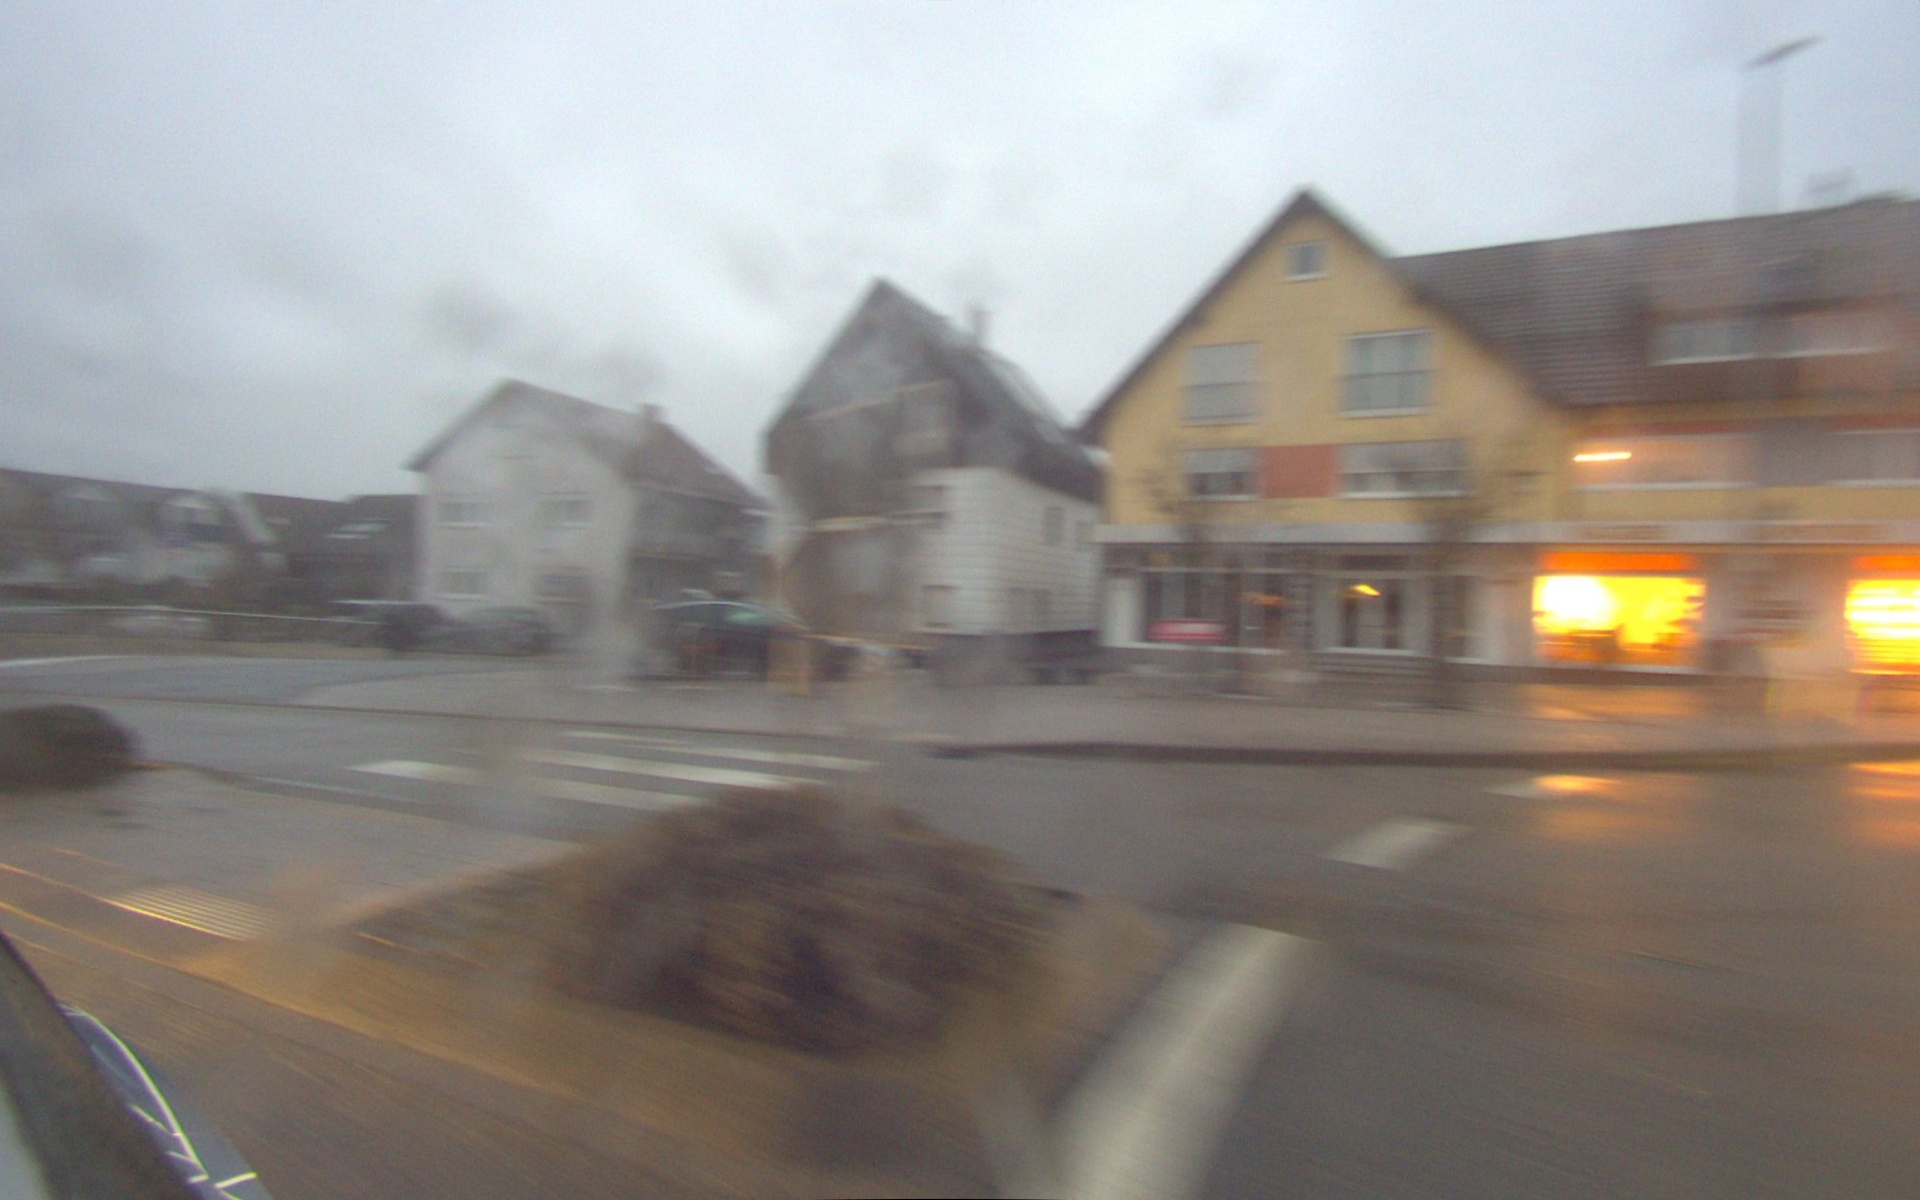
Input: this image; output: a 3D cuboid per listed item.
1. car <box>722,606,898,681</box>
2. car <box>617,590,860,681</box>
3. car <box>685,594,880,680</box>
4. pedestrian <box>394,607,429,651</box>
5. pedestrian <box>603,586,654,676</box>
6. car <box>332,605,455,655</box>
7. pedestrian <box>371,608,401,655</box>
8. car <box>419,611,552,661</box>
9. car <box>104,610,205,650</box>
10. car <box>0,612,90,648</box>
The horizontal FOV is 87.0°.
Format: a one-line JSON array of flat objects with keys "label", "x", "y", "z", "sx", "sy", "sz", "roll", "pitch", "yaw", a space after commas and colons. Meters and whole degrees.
[{"label": "car", "x": -3.441, "y": 1.032, "z": 23.846, "sx": 3.940, "sy": 1.643, "sz": 1.766, "roll": 1, "pitch": -3, "yaw": -3}, {"label": "car", "x": -4.006, "y": 0.658, "z": 18.563, "sx": 4.112, "sy": 1.543, "sz": 1.918, "roll": 1, "pitch": -2, "yaw": -11}, {"label": "car", "x": -3.664, "y": 0.799, "z": 21.239, "sx": 3.835, "sy": 1.683, "sz": 1.843, "roll": 1, "pitch": -3, "yaw": -7}, {"label": "pedestrian", "x": -16.048, "y": 0.834, "z": 29.607, "sx": 0.599, "sy": 1.259, "sz": 0.687, "roll": 0, "pitch": -1, "yaw": 23}, {"label": "pedestrian", "x": -6.588, "y": 0.623, "z": 20.082, "sx": 0.712, "sy": 1.725, "sz": 0.843, "roll": 2, "pitch": -3, "yaw": -35}, {"label": "car", "x": -20.393, "y": 1.055, "z": 36.462, "sx": 3.927, "sy": 1.673, "sz": 1.694, "roll": 0, "pitch": 0, "yaw": 18}, {"label": "pedestrian", "x": -16.308, "y": 0.889, "z": 28.752, "sx": 0.593, "sy": 1.312, "sz": 0.512, "roll": 0, "pitch": -1, "yaw": -10}, {"label": "car", "x": -16.277, "y": 1.188, "z": 34.744, "sx": 4.061, "sy": 1.581, "sz": 1.769, "roll": 0, "pitch": 0, "yaw": 19}, {"label": "car", "x": -32.446, "y": 1.189, "z": 40.786, "sx": 3.473, "sy": 1.520, "sz": 1.470, "roll": 0, "pitch": -1, "yaw": 17}, {"label": "car", "x": -39.903, "y": 1.272, "z": 43.438, "sx": 4.216, "sy": 1.480, "sz": 1.792, "roll": 1, "pitch": -1, "yaw": 14}]
